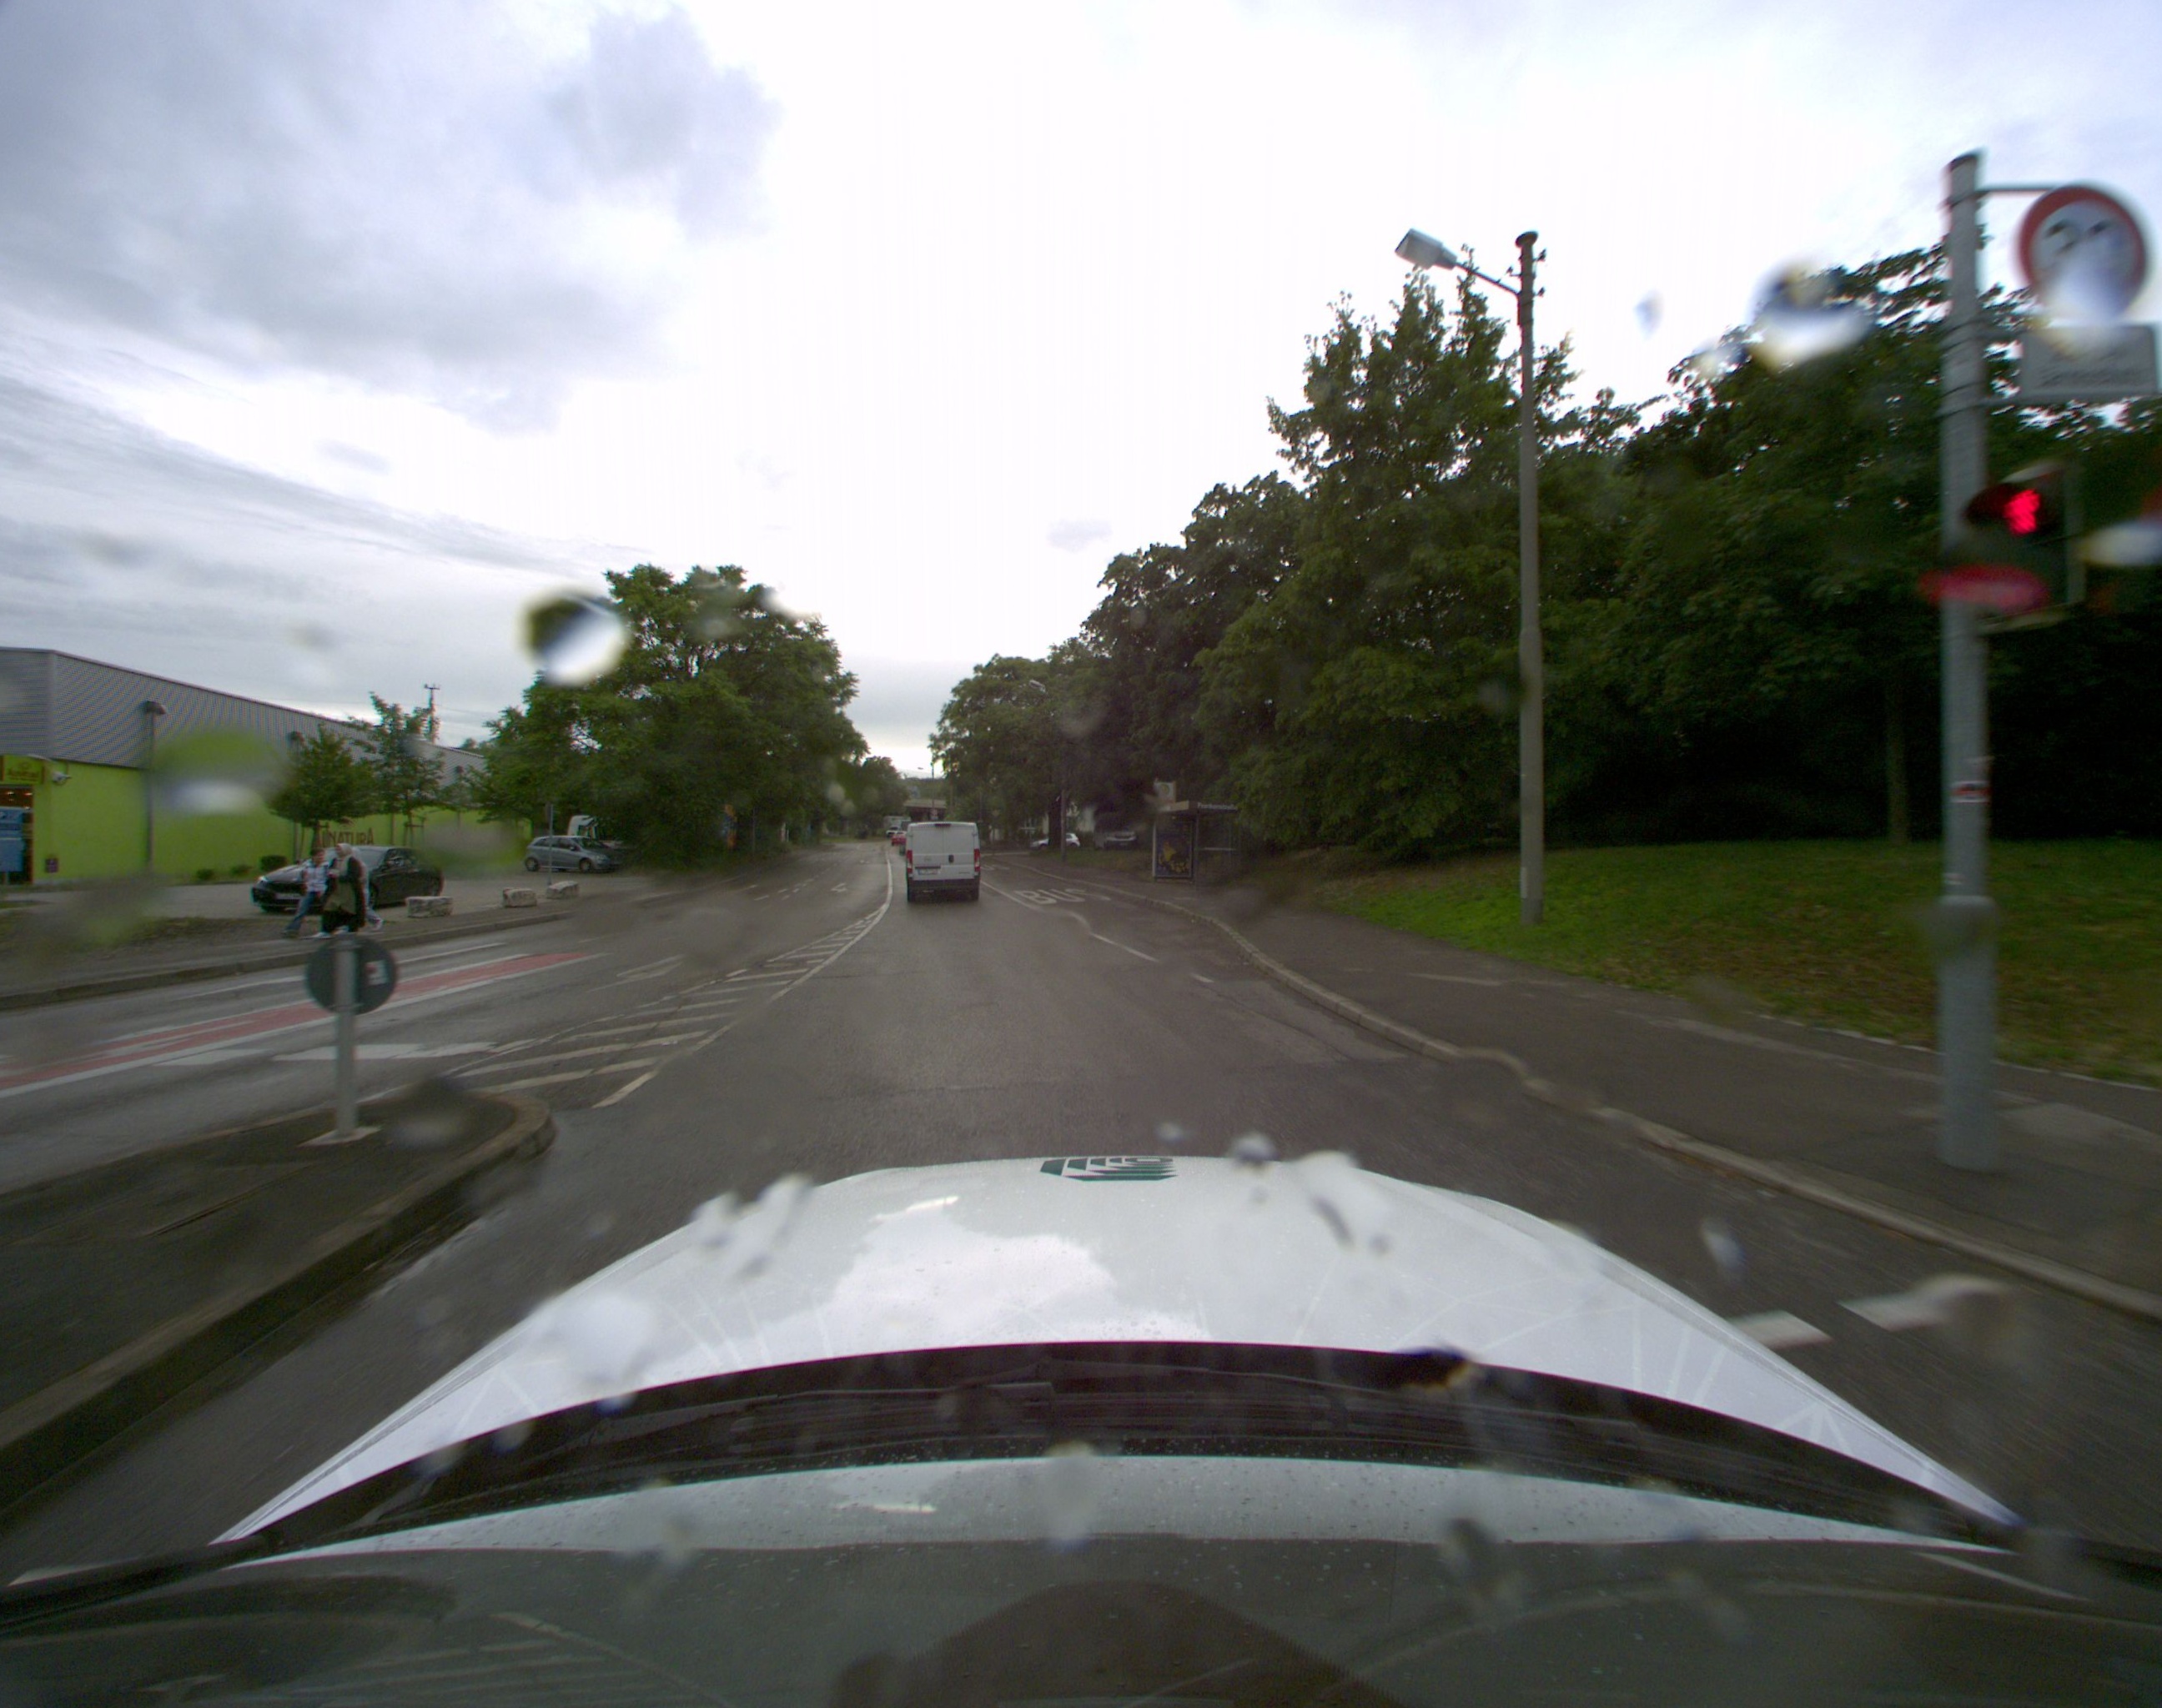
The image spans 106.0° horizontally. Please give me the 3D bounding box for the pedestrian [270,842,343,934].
[{"bbox_3d":[-14.018,0.594,14.762,0.653,1.601,0.678,1,2,0],"label":"pedestrian"}]

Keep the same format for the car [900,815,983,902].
[{"bbox_3d":[-4.271,0.092,24.592,2.147,2.283,5.043,-2,1,-11],"label":"car"}]

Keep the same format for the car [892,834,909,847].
[{"bbox_3d":[-22.179,-1.717,99.879,1.840,1.533,4.182,0,2,-15],"label":"car"}]

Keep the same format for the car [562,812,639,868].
[{"bbox_3d":[-23.506,-0.752,39.739,2.125,2.532,5.539,0,2,-43],"label":"car"}]

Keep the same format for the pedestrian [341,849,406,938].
[{"bbox_3d":[-13.281,0.720,15.303,0.603,1.601,0.678,1,2,0],"label":"pedestrian"}]

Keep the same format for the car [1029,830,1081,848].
[{"bbox_3d":[-2.206,-1.246,67.964,3.996,1.422,1.694,-2,0,-17],"label":"car"}]

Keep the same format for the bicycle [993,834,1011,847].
[{"bbox_3d":[-6.859,-1.178,70.732,1.571,1.114,0.456,-2,2,-10],"label":"bicycle"}]

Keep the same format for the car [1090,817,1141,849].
[{"bbox_3d":[2.072,-1.318,50.262,1.994,1.804,5.129,1,2,-11],"label":"car"}]

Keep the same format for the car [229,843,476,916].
[{"bbox_3d":[-16.508,0.483,18.806,1.739,1.449,4.238,1,1,3],"label":"car"}]

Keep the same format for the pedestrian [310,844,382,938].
[{"bbox_3d":[-13.070,0.641,14.494,0.653,1.601,0.678,1,2,0],"label":"pedestrian"}]

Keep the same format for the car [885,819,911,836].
[{"bbox_3d":[-33.315,-4.790,148.378,2.522,3.017,7.223,1,2,5],"label":"car"}]

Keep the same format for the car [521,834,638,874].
[{"bbox_3d":[-21.818,-0.035,35.496,4.085,1.542,2.007,2,2,12],"label":"car"}]

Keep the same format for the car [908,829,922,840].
[{"bbox_3d":[-24.725,-2.901,121.411,1.763,1.510,3.748,0,2,-6],"label":"car"}]

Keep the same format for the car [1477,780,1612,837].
[{"bbox_3d":[18.799,-1.825,33.203,4.291,1.779,1.806,-6,1,7],"label":"car"}]
